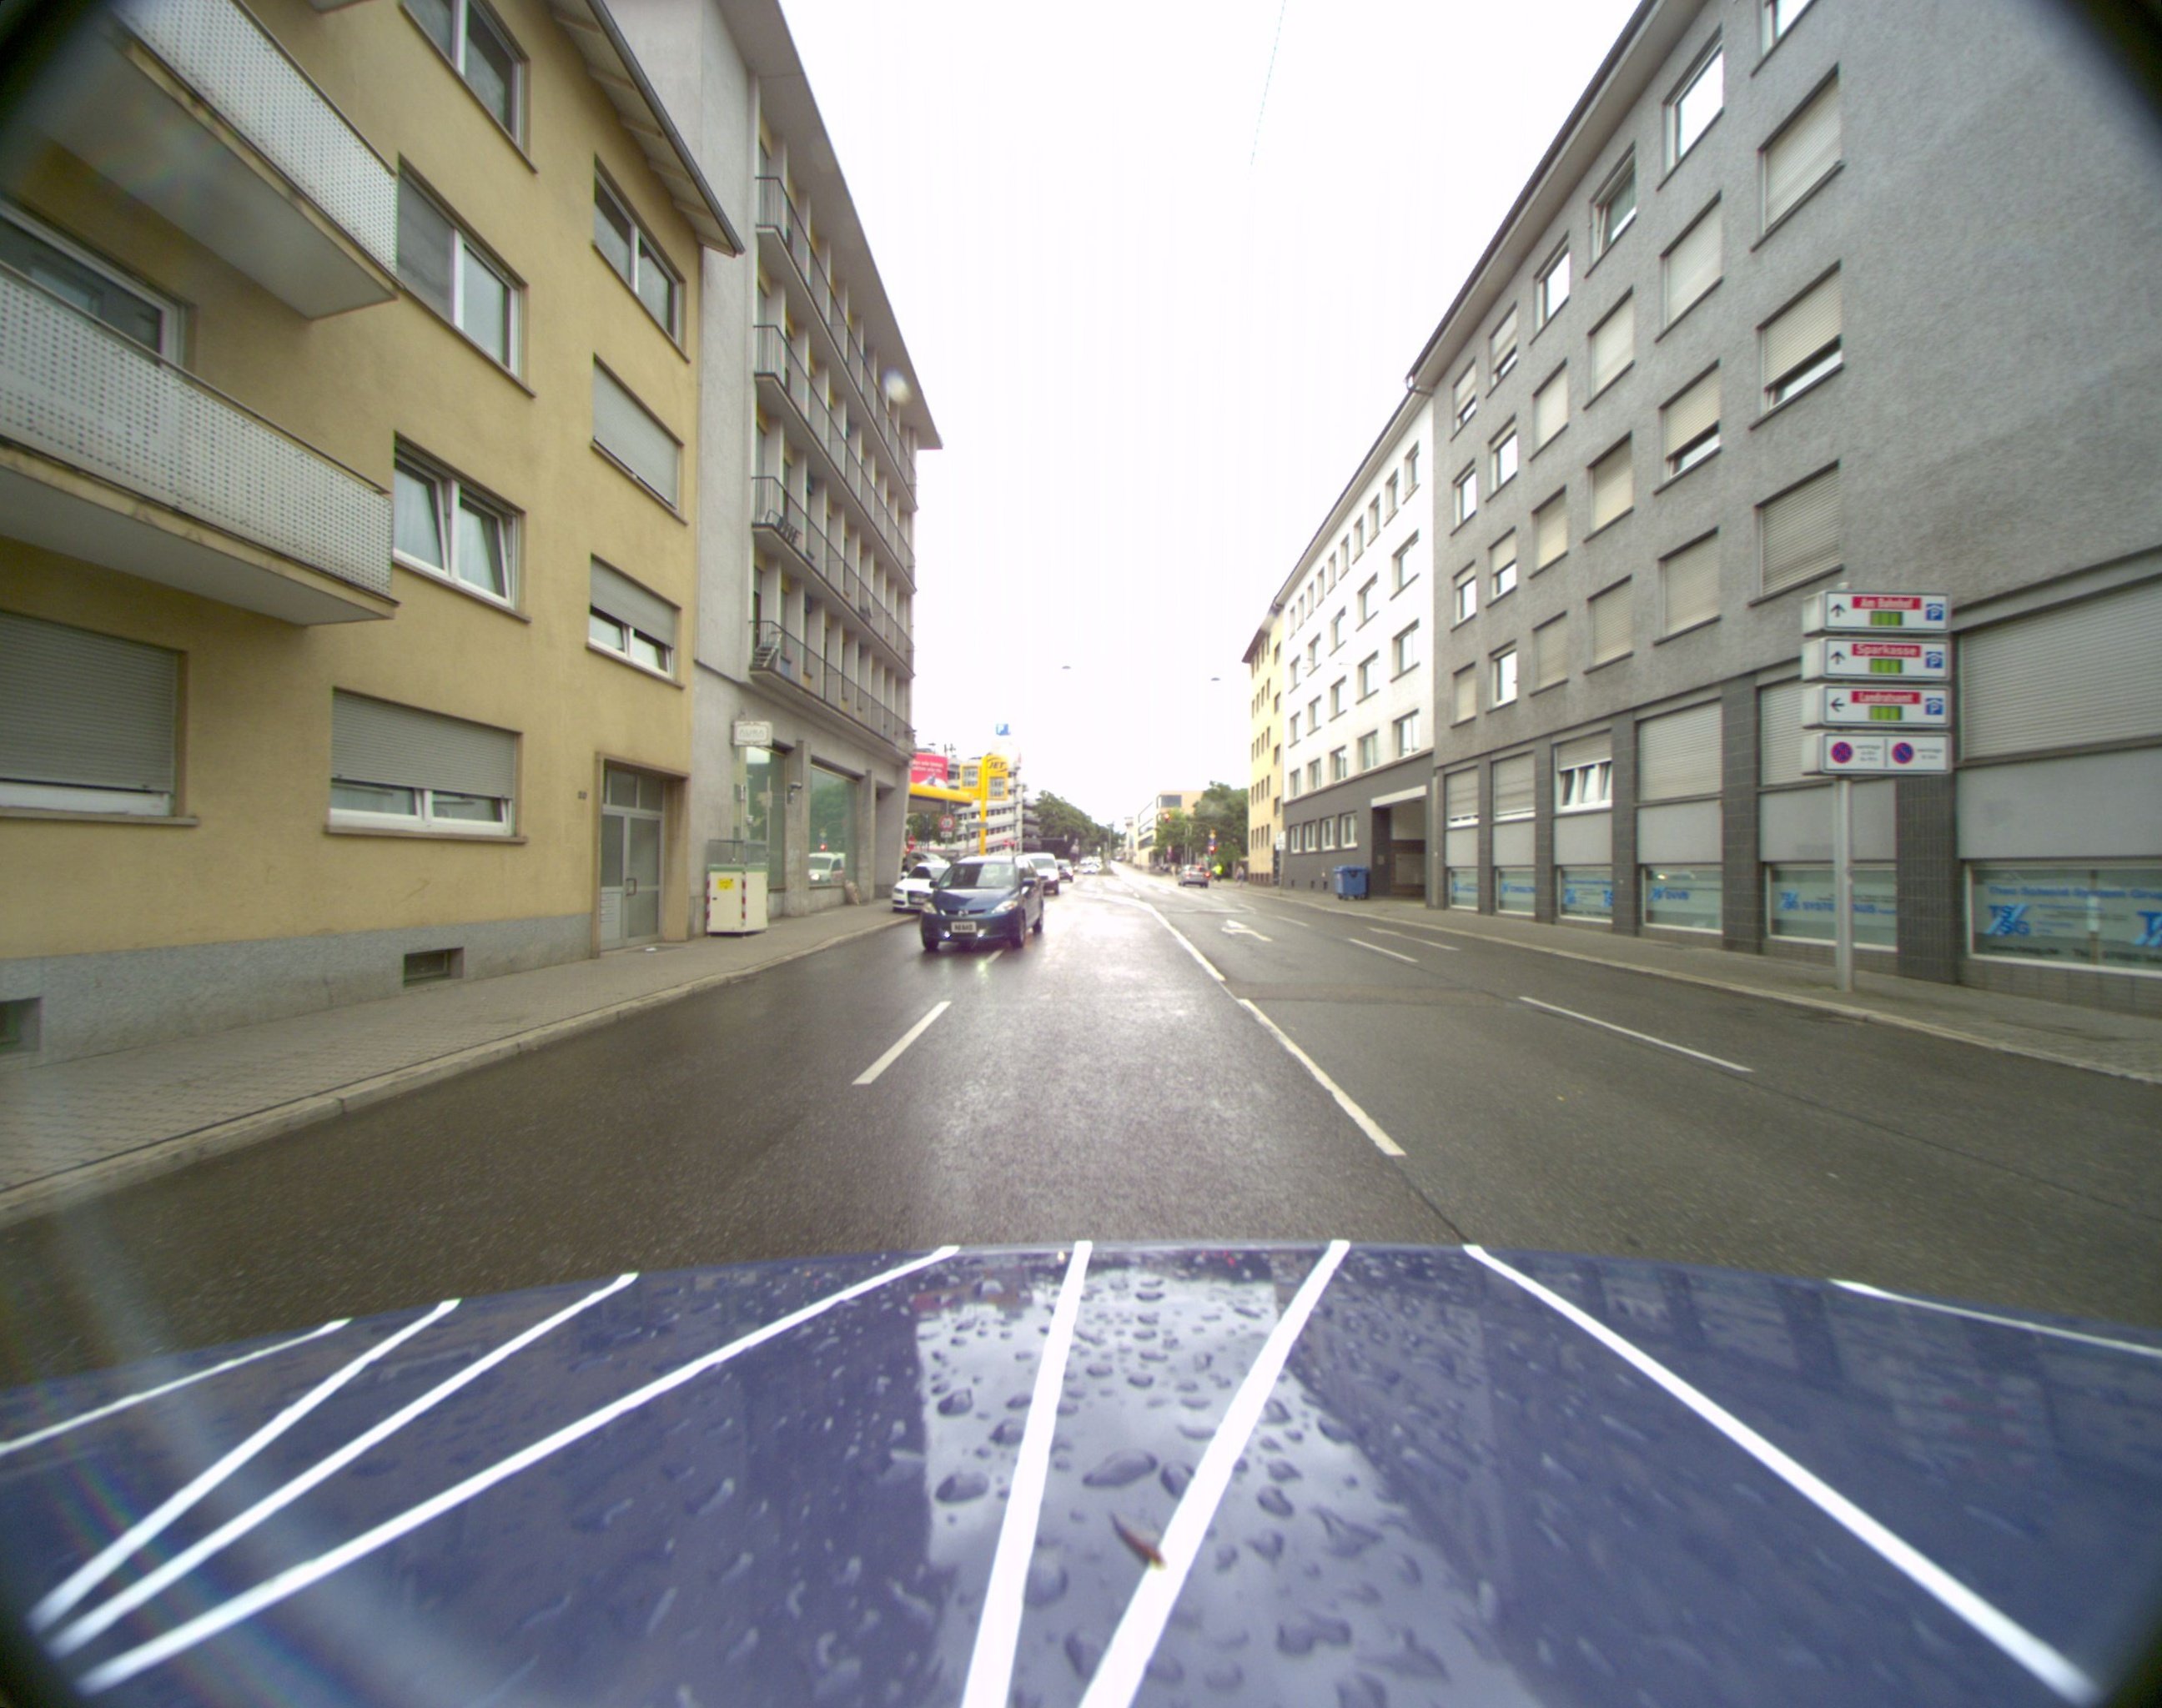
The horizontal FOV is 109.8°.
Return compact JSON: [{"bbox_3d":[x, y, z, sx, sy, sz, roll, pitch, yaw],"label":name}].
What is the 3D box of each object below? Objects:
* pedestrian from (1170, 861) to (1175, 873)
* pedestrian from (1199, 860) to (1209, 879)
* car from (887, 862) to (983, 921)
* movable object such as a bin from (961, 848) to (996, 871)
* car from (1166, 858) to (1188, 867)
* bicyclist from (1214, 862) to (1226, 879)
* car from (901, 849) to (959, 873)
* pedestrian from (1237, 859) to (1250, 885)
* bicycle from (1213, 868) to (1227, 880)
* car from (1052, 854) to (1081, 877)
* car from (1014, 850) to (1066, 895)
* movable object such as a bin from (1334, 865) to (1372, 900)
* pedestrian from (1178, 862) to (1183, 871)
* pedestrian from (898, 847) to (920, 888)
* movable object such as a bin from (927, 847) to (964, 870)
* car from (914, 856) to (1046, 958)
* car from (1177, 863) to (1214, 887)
[{"bbox_3d":[13.080,1.828,108.935,0.595,1.761,0.692,-1,0,1],"label":"pedestrian"},{"bbox_3d":[10.677,1.342,66.123,0.719,1.679,0.811,-1,0,3],"label":"pedestrian"},{"bbox_3d":[-4.197,1.020,22.597,1.898,1.394,4.608,5,0,-1],"label":"car"},{"bbox_3d":[-7.242,0.398,54.049,2.160,1.565,1.773,1,0,2],"label":"movable object such as a bin"},{"bbox_3d":[17.933,1.642,142.600,3.995,1.575,2.001,-1,0,5],"label":"car"},{"bbox_3d":[11.832,1.376,64.629,0.844,1.433,0.813,-1,0,4],"label":"bicyclist"},{"bbox_3d":[-9.999,0.438,50.177,1.750,1.434,3.987,2,1,-45],"label":"car"},{"bbox_3d":[10.495,1.138,49.120,0.719,1.679,0.811,-1,0,3],"label":"pedestrian"},{"bbox_3d":[11.827,1.699,64.672,0.887,0.902,1.867,-1,0,4],"label":"bicycle"},{"bbox_3d":[-1.015,0.846,54.979,1.804,1.561,3.950,-2,-1,3],"label":"car"},{"bbox_3d":[-1.730,0.789,33.380,1.804,1.817,3.950,-2,-1,3],"label":"car"},{"bbox_3d":[10.666,1.121,29.889,1.079,1.316,1.191,-1,0,2],"label":"movable object such as a bin"},{"bbox_3d":[14.279,1.809,109.290,0.622,1.368,0.475,-1,0,2],"label":"pedestrian"},{"bbox_3d":[-7.430,0.581,32.857,0.661,1.761,0.528,2,1,-41],"label":"pedestrian"},{"bbox_3d":[-9.615,0.322,54.064,2.160,1.546,1.773,2,0,2],"label":"movable object such as a bin"},{"bbox_3d":[-1.736,0.879,14.388,1.845,1.646,4.001,0,0,2],"label":"car"},{"bbox_3d":[7.759,1.397,51.825,1.831,1.408,4.295,4,-1,1],"label":"car"}]
